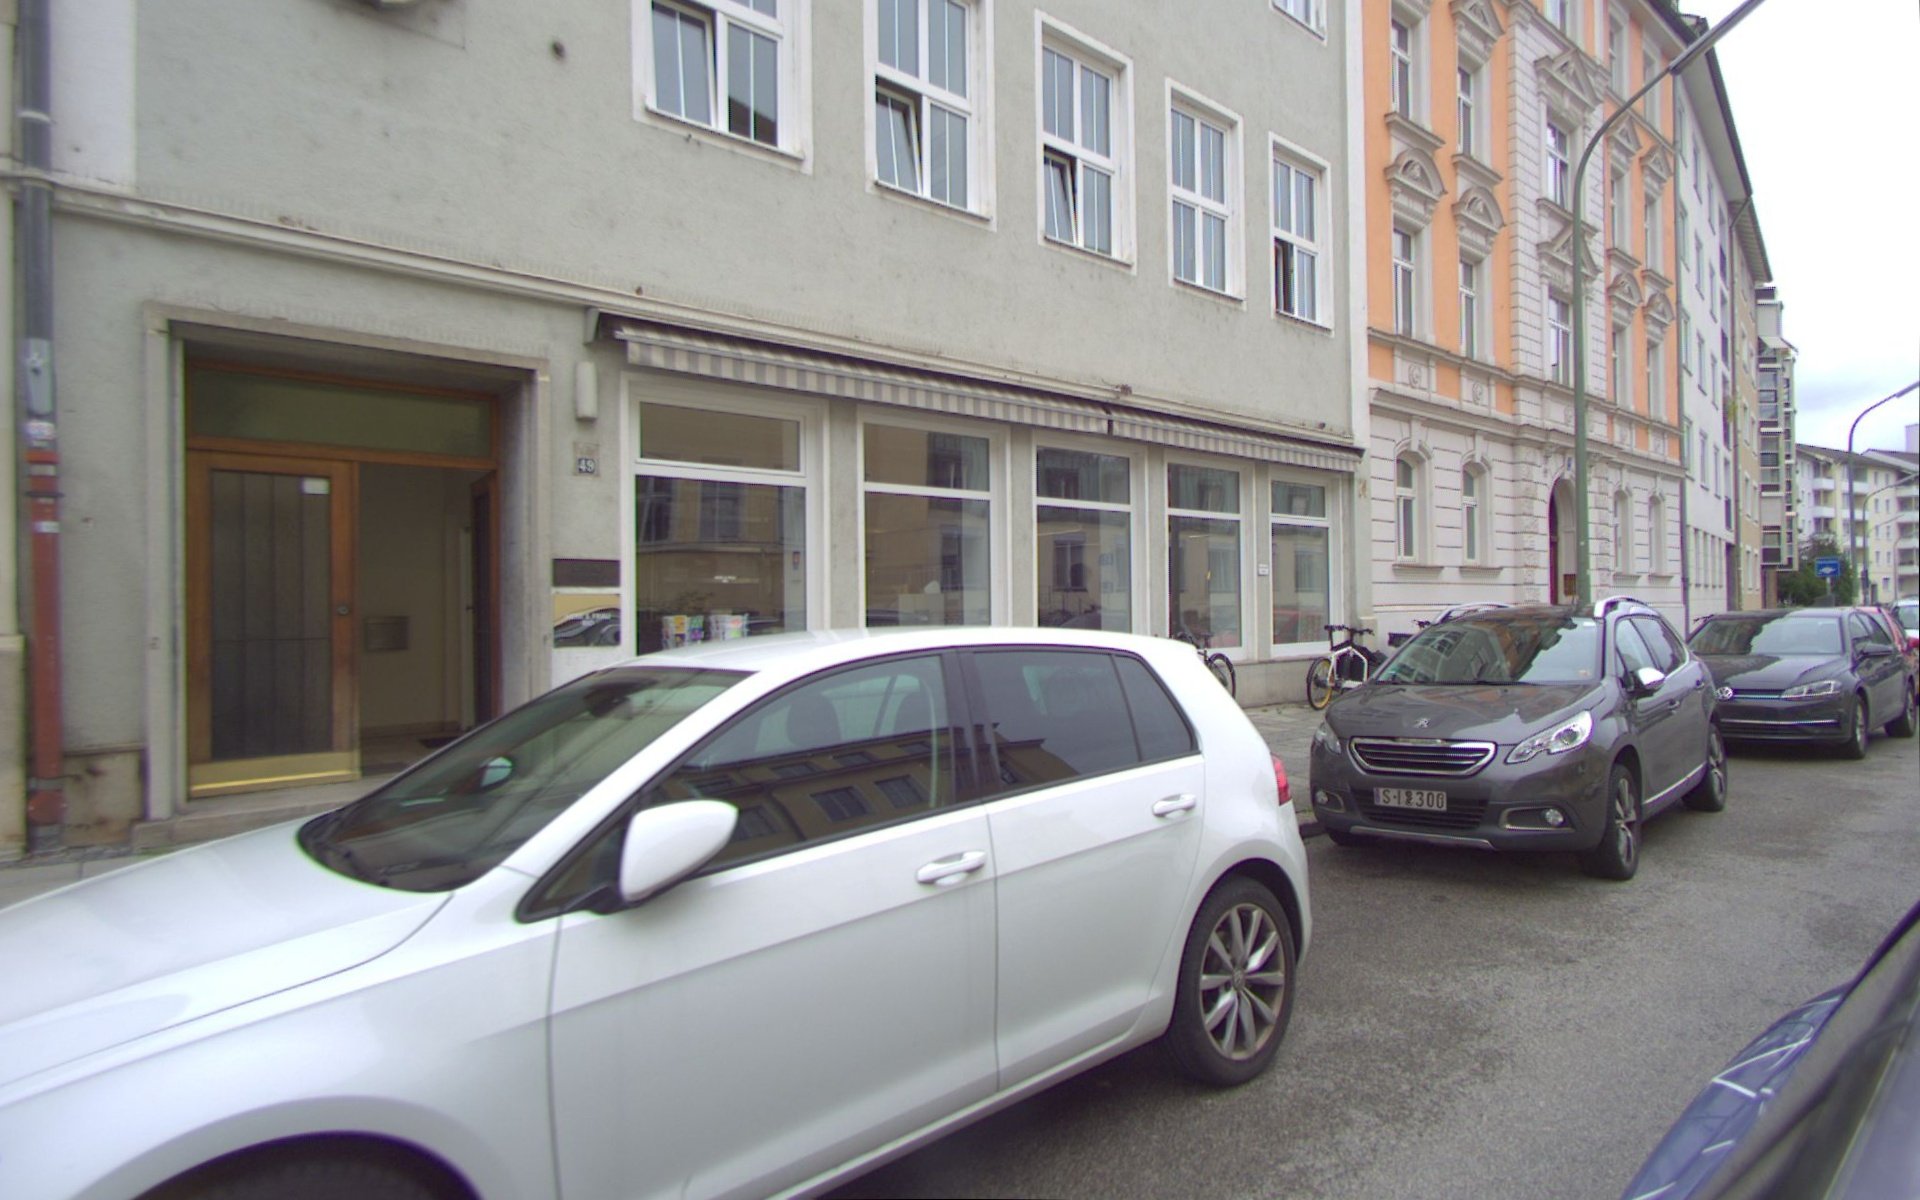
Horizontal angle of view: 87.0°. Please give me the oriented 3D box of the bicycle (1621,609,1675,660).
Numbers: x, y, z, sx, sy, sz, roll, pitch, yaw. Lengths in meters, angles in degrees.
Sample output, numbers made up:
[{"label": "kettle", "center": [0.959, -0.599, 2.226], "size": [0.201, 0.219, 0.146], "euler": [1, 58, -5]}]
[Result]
[{"label": "bicycle", "center": [14.609, 0.709, 21.477], "size": [1.787, 1.037, 0.596], "euler": [0, 0, -44]}]

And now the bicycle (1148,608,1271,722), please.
[{"label": "bicycle", "center": [2.896, 0.707, 11.634], "size": [1.784, 1.191, 0.396], "euler": [-1, -1, -41]}]

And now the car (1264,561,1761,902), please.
[{"label": "car", "center": [3.980, 0.647, 6.921], "size": [4.288, 1.613, 1.707], "euler": [0, -2, -43]}]

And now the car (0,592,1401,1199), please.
[{"label": "car", "center": [-0.632, 0.752, 2.948], "size": [4.450, 1.447, 1.675], "euler": [-1, -2, -40]}]

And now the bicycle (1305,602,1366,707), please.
[{"label": "bicycle", "center": [4.772, 0.661, 12.845], "size": [0.248, 1.271, 1.214], "euler": [0, 0, 45]}]

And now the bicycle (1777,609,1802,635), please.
[{"label": "bicycle", "center": [34.352, 0.892, 41.903], "size": [0.676, 1.046, 1.725], "euler": [-1, 0, 43]}]

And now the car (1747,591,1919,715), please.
[{"label": "car", "center": [12.701, 0.680, 14.417], "size": [4.077, 1.520, 1.688], "euler": [0, -3, -43]}]

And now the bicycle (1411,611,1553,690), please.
[{"label": "bicycle", "center": [7.614, 0.724, 14.790], "size": [1.778, 1.103, 0.622], "euler": [0, 0, -5]}]

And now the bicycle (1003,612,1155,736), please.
[{"label": "bicycle", "center": [1.271, 0.721, 10.527], "size": [1.915, 1.172, 0.385], "euler": [0, -1, -41]}]

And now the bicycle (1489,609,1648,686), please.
[{"label": "bicycle", "center": [9.491, 0.727, 15.833], "size": [2.056, 1.153, 0.583], "euler": [0, 0, 7]}]

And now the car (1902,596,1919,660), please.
[{"label": "car", "center": [24.597, 0.637, 24.770], "size": [4.468, 1.513, 1.745], "euler": [0, -1, -41]}]

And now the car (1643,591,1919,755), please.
[{"label": "car", "center": [9.137, 0.643, 10.958], "size": [4.285, 1.420, 1.691], "euler": [-1, -1, -39]}]

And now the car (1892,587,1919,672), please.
[{"label": "car", "center": [20.782, 0.564, 21.230], "size": [1.679, 1.695, 3.746], "euler": [-3, -2, 42]}]

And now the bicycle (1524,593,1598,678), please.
[{"label": "bicycle", "center": [10.509, 0.590, 17.672], "size": [2.057, 1.402, 0.596], "euler": [0, 0, -44]}]

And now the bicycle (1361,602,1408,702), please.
[{"label": "bicycle", "center": [5.572, 0.663, 13.279], "size": [0.248, 1.271, 0.902], "euler": [0, 0, 45]}]

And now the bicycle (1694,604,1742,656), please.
[{"label": "bicycle", "center": [17.368, 0.667, 23.165], "size": [0.722, 1.126, 1.965], "euler": [-1, -1, 41]}]

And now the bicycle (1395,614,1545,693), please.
[{"label": "bicycle", "center": [7.210, 0.745, 14.359], "size": [1.817, 1.081, 0.514], "euler": [0, 0, 8]}]
